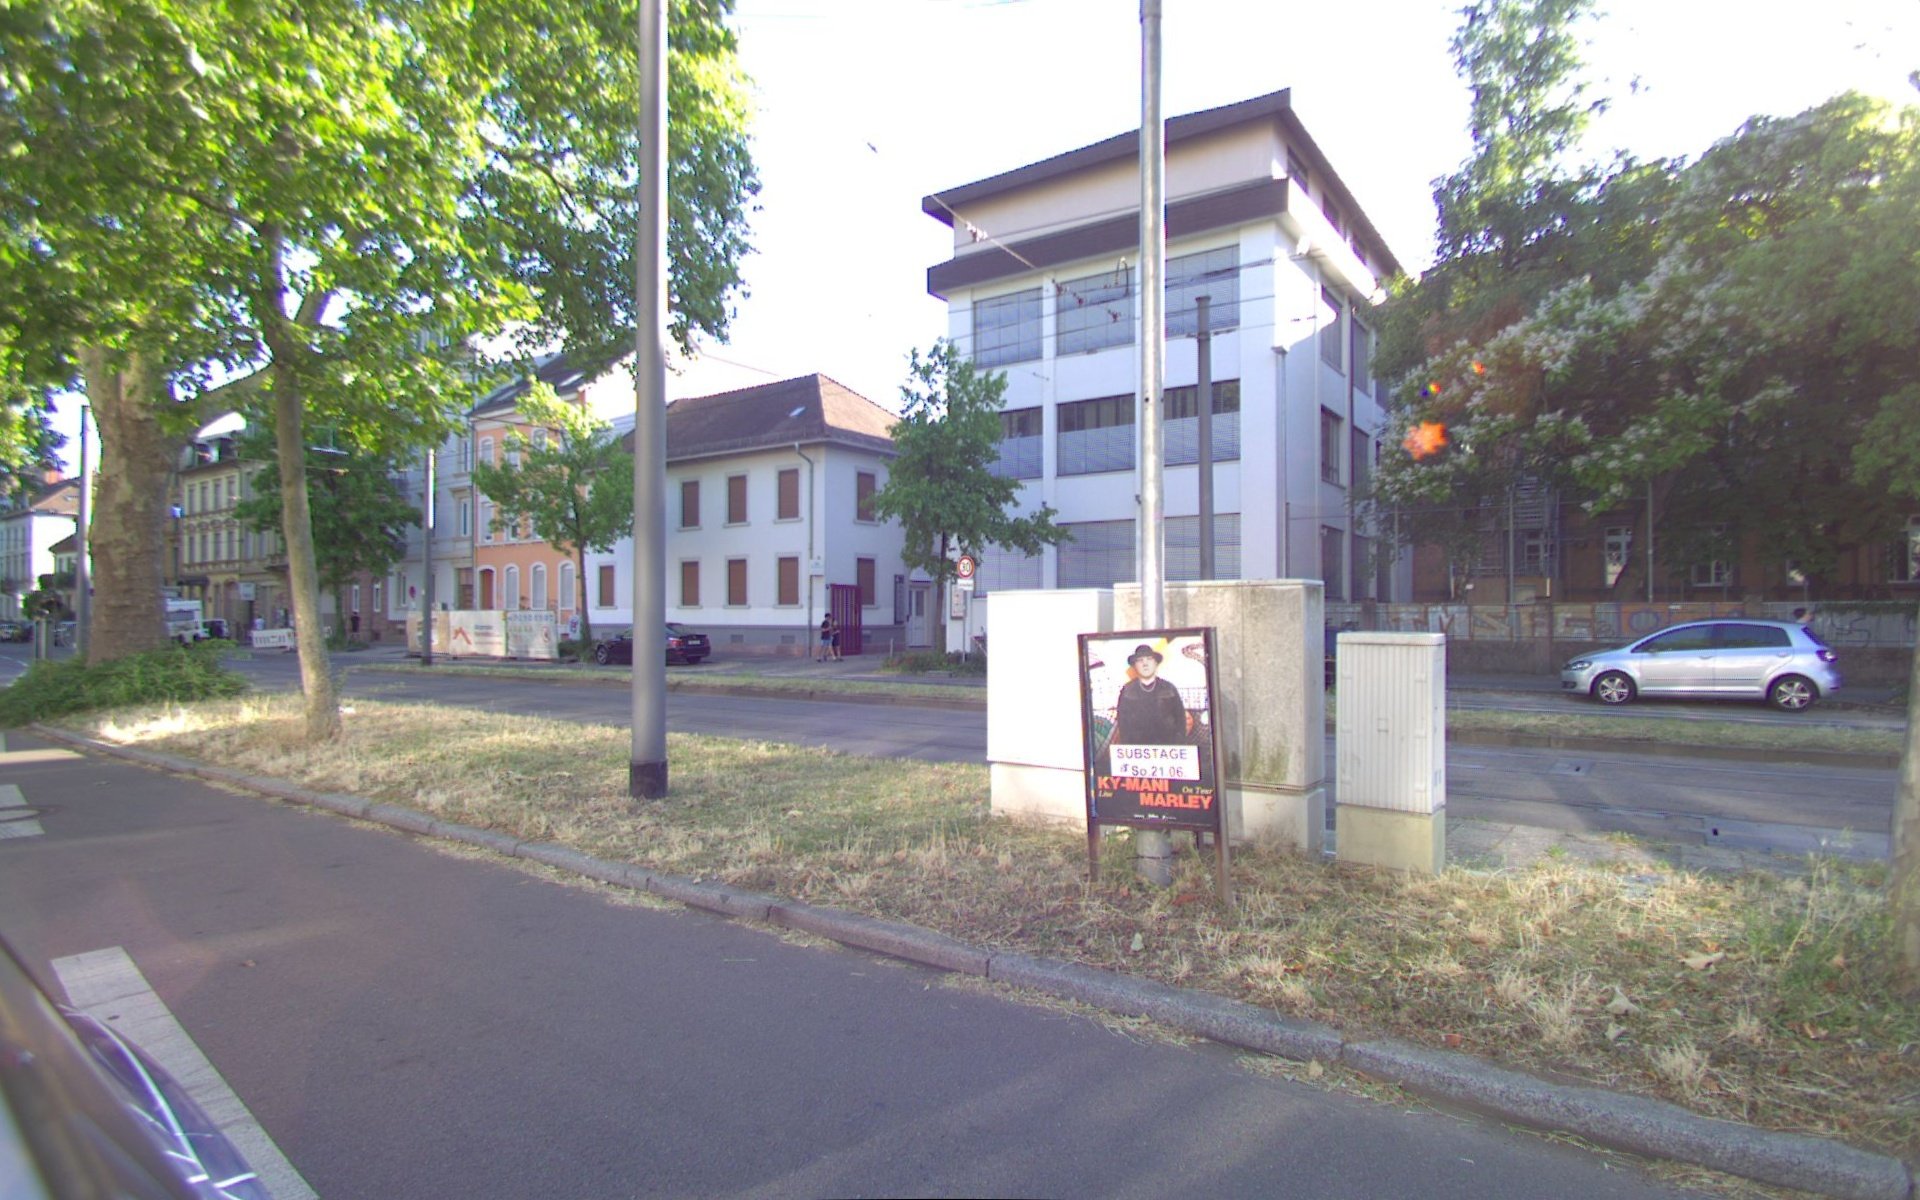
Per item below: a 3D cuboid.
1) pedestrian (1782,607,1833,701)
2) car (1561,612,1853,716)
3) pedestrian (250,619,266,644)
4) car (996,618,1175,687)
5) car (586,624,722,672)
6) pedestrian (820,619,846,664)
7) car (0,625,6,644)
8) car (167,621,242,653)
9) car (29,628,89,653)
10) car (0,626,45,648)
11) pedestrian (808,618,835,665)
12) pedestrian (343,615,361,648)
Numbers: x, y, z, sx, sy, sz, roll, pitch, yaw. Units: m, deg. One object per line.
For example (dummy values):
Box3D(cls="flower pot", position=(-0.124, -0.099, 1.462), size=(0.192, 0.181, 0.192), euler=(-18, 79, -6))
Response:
Box3D(cls="pedestrian", position=(15.614, 0.985, 18.660), size=(0.630, 1.677, 0.563), euler=(-1, 1, 34))
Box3D(cls="car", position=(13.450, 1.087, 18.558), size=(4.086, 1.631, 2.065), euler=(-1, 1, 33))
Box3D(cls="pedestrian", position=(-43.480, 1.961, 62.696), size=(0.615, 1.540, 0.633), euler=(-1, -2, 40))
Box3D(cls="car", position=(3.155, 1.268, 25.555), size=(3.985, 1.501, 2.065), euler=(-1, 1, 33))
Box3D(cls="car", position=(-10.646, 1.614, 35.081), size=(4.566, 1.481, 2.065), euler=(-1, 1, 33))
Box3D(cls="pedestrian", position=(-4.368, 1.424, 34.802), size=(0.710, 1.540, 0.531), euler=(-1, -2, 35))
Box3D(cls="car", position=(-81.341, 2.907, 84.115), size=(4.027, 1.551, 2.065), euler=(-1, 1, 33))
Box3D(cls="car", position=(-44.111, 2.117, 59.059), size=(4.520, 1.686, 2.065), euler=(-1, 1, 33))
Box3D(cls="car", position=(-63.464, 2.830, 71.280), size=(4.503, 1.551, 2.065), euler=(-1, 1, 33))
Box3D(cls="car", position=(-73.875, 2.862, 79.206), size=(5.090, 1.551, 2.065), euler=(-1, 1, 33))
Box3D(cls="pedestrian", position=(-4.636, 1.389, 33.884), size=(0.708, 1.540, 0.532), euler=(-1, -2, 29))
Box3D(cls="pedestrian", position=(-33.495, 1.717, 55.710), size=(0.702, 1.823, 0.556), euler=(-1, -2, 29))
